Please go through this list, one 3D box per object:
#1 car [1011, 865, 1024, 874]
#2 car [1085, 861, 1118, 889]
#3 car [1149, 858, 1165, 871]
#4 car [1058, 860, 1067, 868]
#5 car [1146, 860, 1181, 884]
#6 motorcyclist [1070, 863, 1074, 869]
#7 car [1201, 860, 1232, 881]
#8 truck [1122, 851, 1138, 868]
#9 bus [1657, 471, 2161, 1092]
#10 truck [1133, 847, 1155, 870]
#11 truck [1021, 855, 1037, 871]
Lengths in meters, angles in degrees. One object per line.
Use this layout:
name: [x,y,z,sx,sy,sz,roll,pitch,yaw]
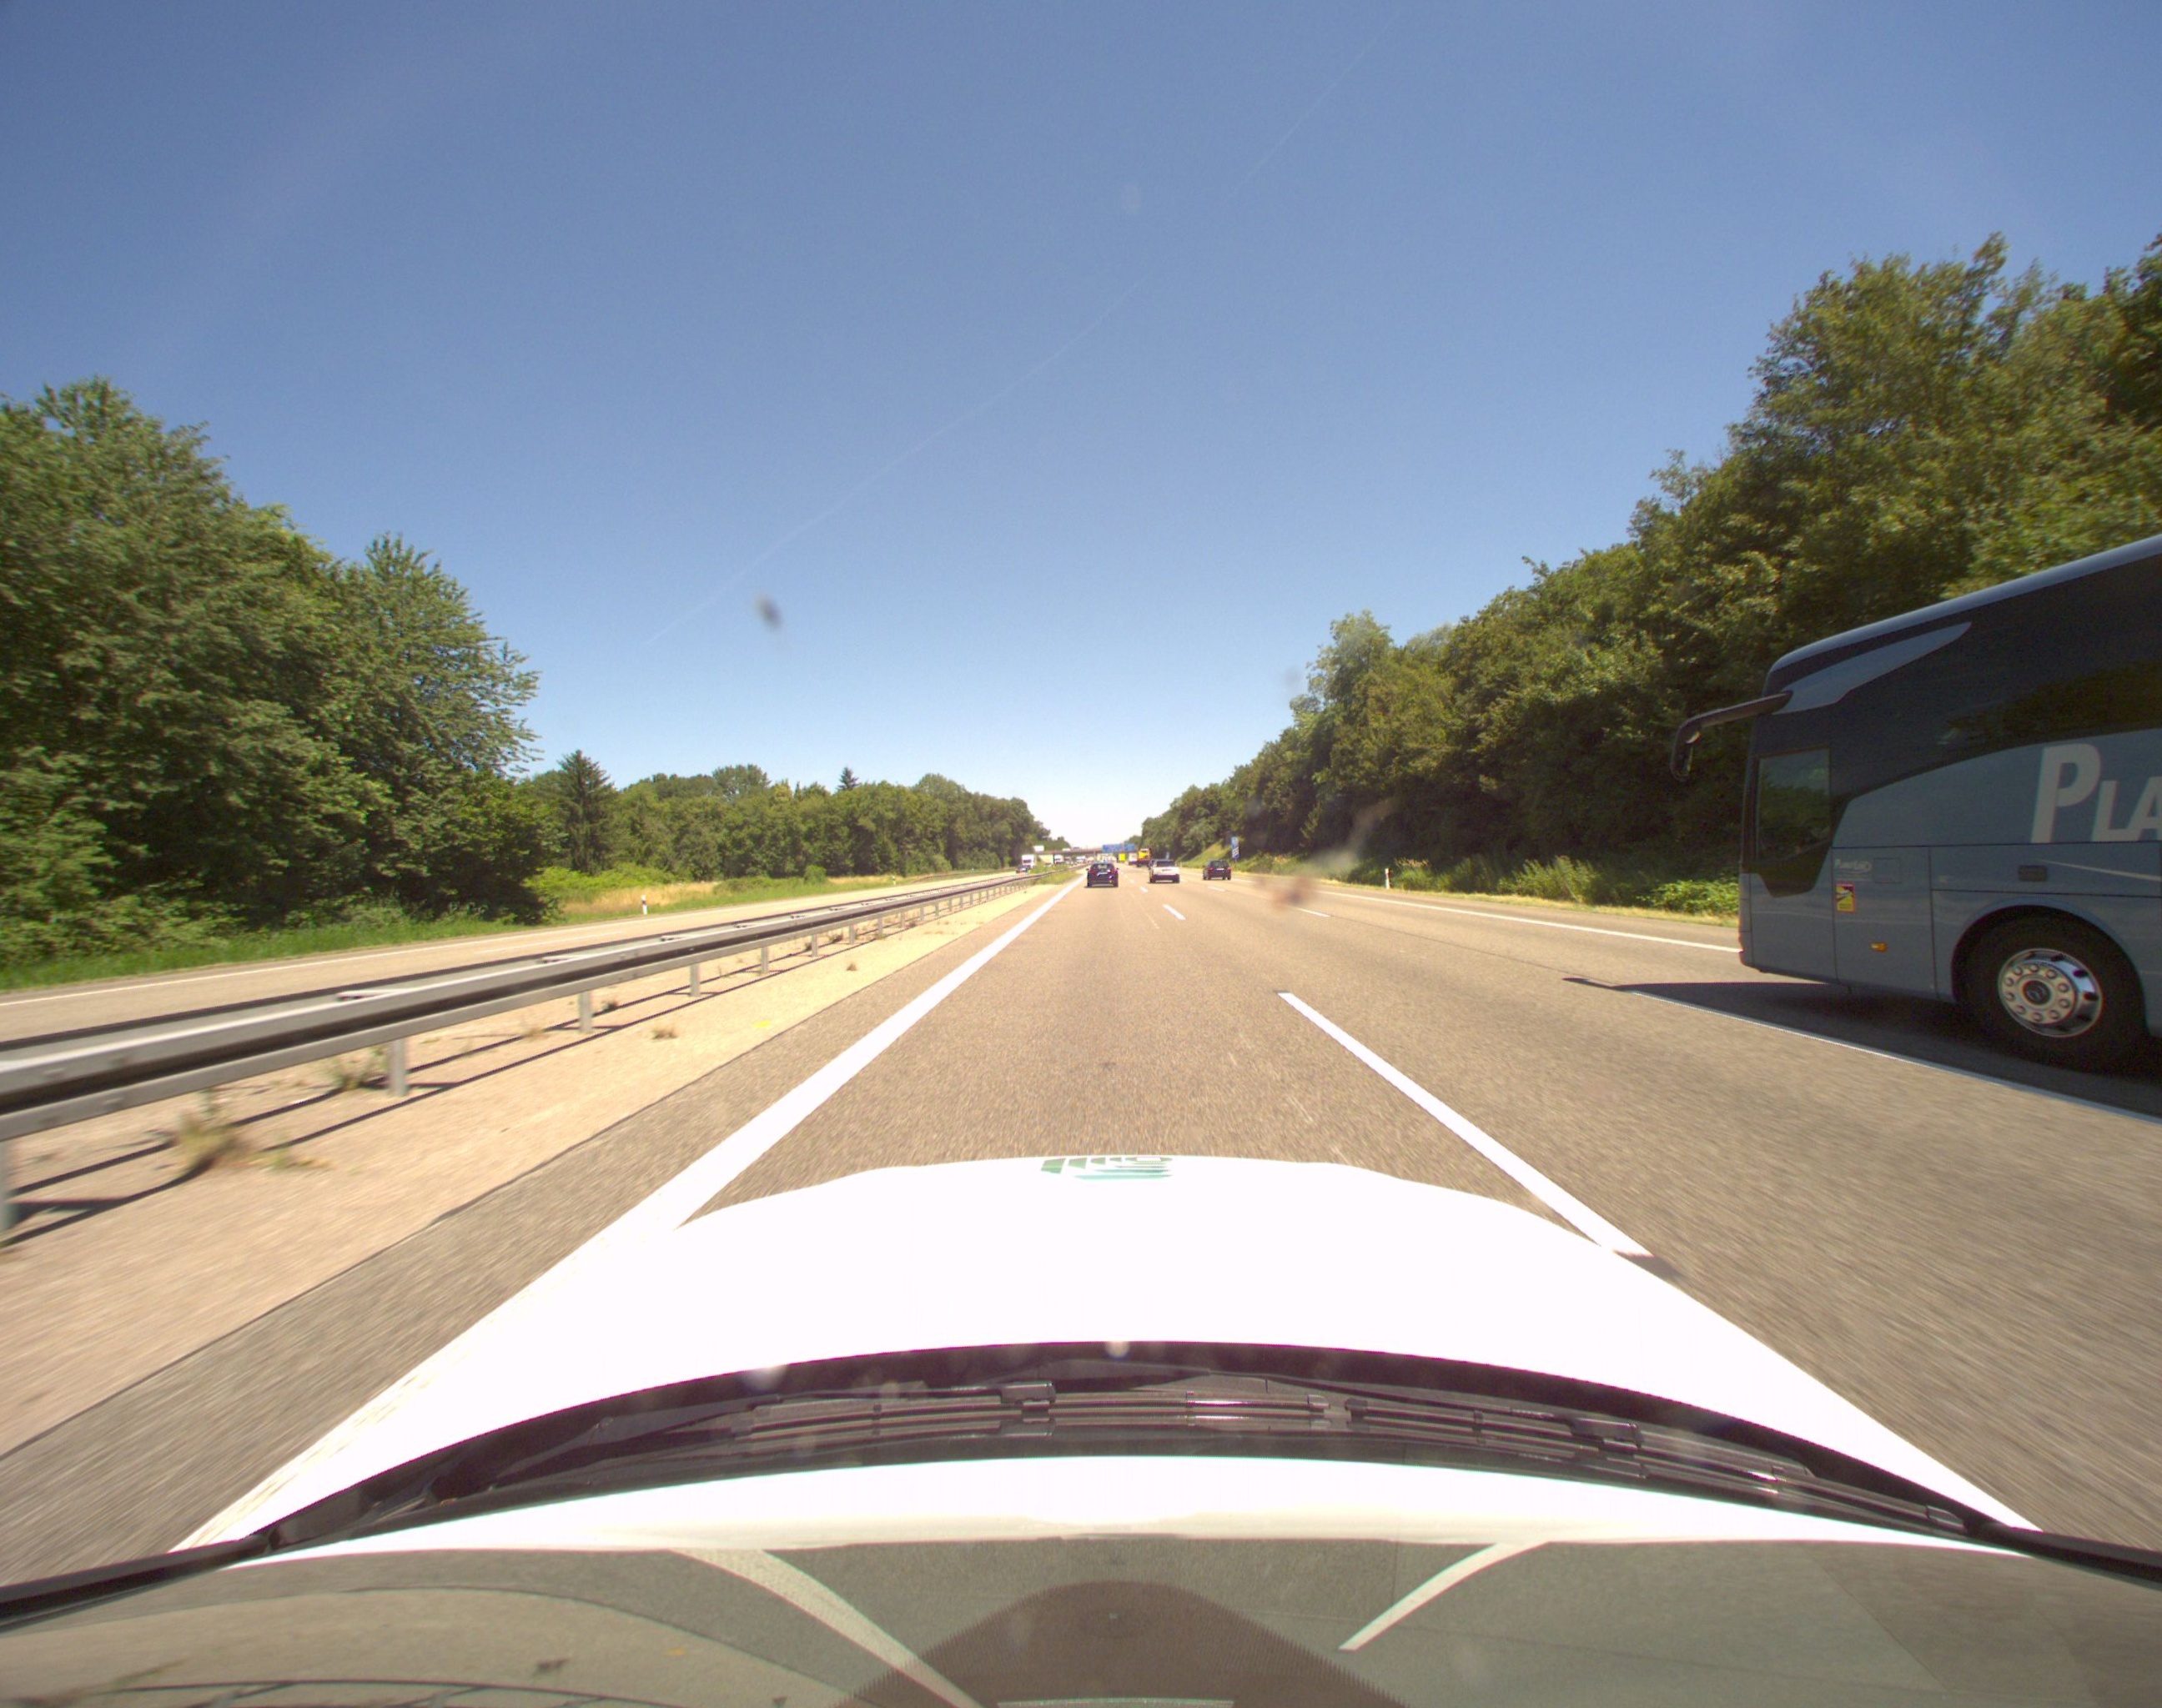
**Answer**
car: [-10.984,2.628,140.316,1.793,1.532,4.678,-1,0,1]
car: [1.171,1.164,47.209,1.793,1.502,4.241,-1,0,1]
car: [11.399,1.546,122.406,2.069,1.751,4.241,-2,-1,0]
car: [-3.925,2.206,174.549,1.793,1.696,4.242,-1,0,1]
car: [5.386,1.154,53.643,1.893,1.532,4.241,-1,0,1]
motorcyclist: [-2.578,3.416,235.065,1.148,1.815,1.027,-2,-1,1]
car: [9.814,1.181,59.242,1.782,1.461,3.951,-1,0,2]
truck: [13.775,1.668,229.910,3.635,4.590,17.247,0,-1,1]
bus: [7.631,-0.457,2.648,2.792,3.596,12.474,-1,-1,1]
truck: [12.952,1.011,168.982,3.635,4.590,15.766,0,-1,1]
truck: [-12.202,2.041,190.515,2.786,3.632,10.697,-2,-1,1]
